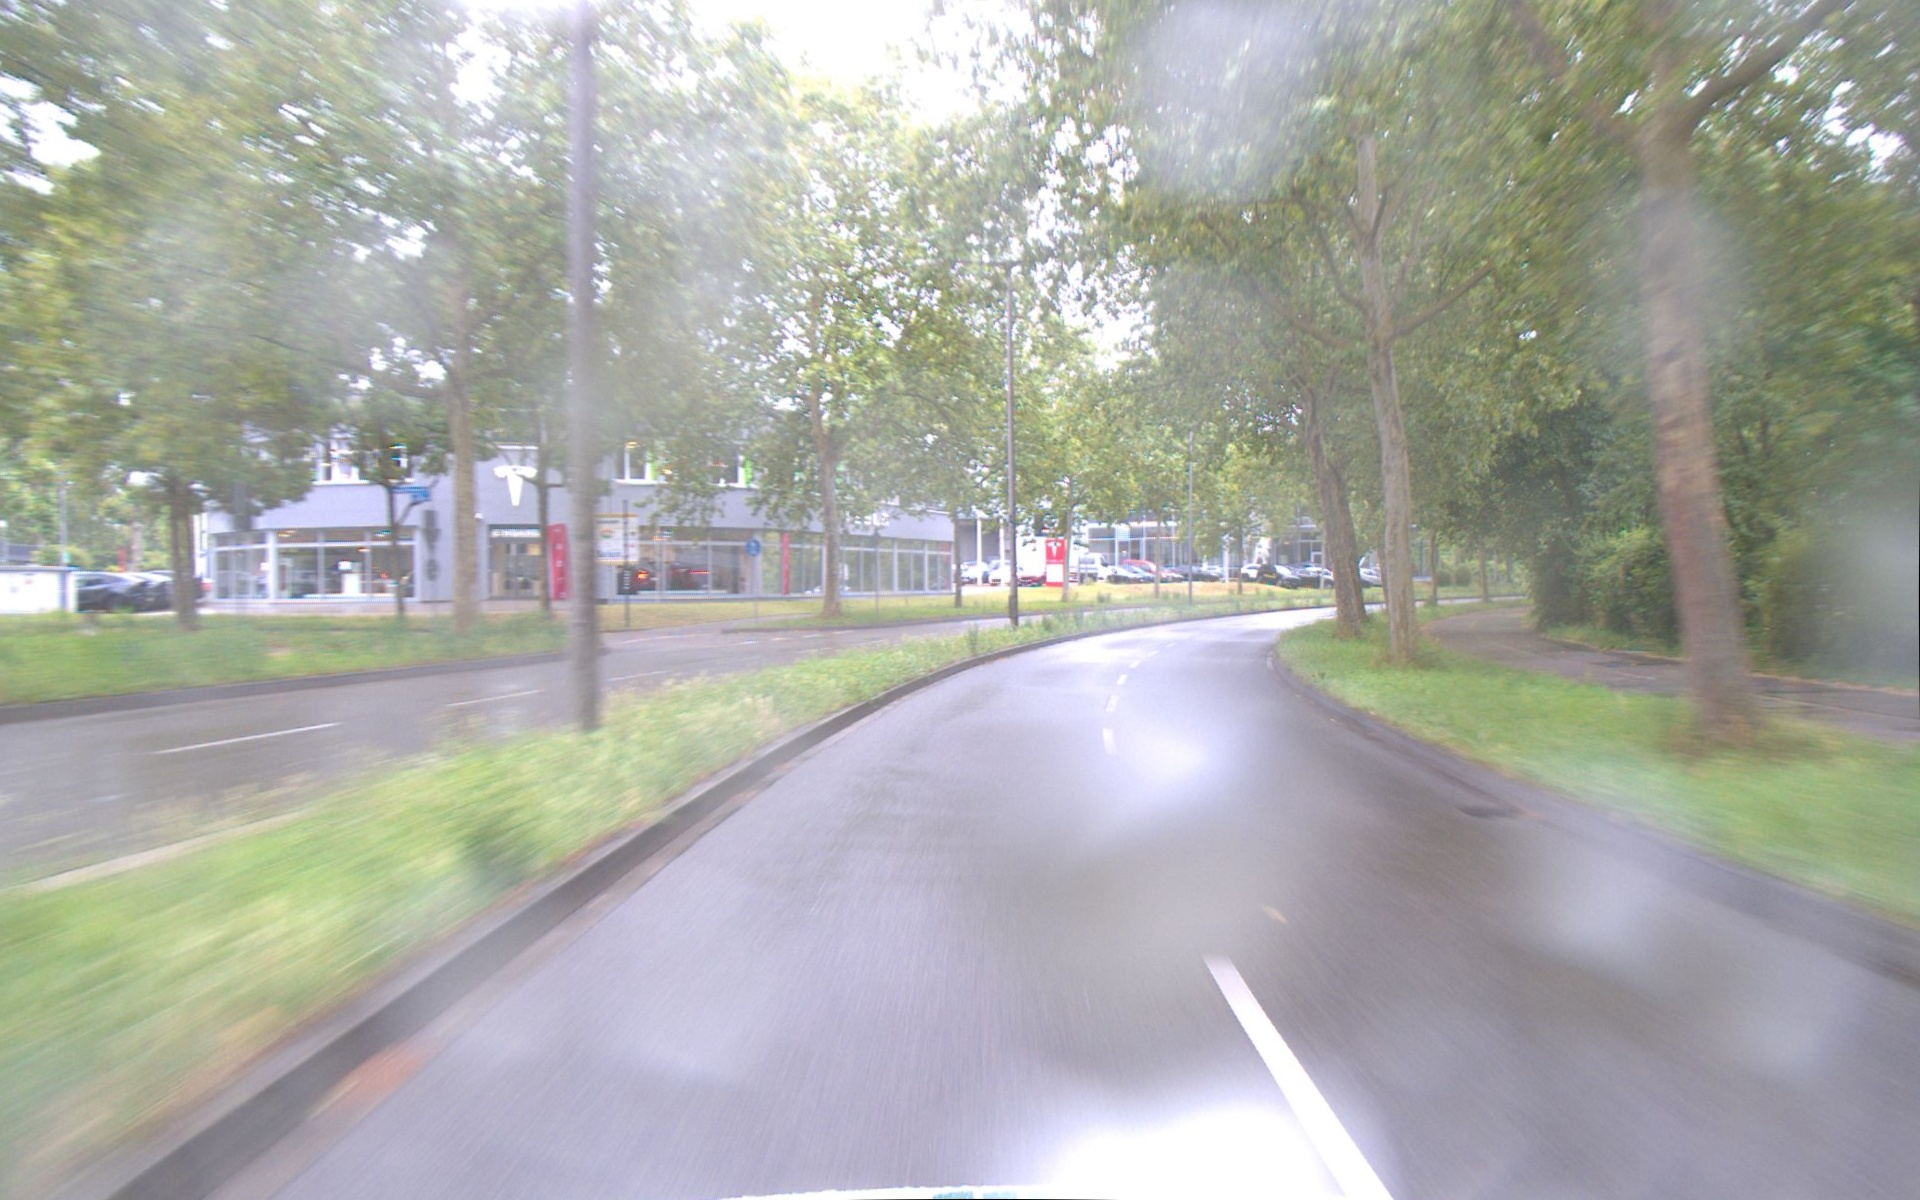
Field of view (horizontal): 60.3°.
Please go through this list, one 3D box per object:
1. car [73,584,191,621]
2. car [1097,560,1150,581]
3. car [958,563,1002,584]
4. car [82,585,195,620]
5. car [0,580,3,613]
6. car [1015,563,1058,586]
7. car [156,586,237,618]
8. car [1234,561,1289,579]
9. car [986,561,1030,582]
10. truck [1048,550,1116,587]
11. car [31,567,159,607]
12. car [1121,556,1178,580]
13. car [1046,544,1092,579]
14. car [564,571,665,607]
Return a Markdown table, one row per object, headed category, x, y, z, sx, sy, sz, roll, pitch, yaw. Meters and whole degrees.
| category | x | y | z | sx | sy | sz | roll | pitch | yaw |
| --- | --- | --- | --- | --- | --- | --- | --- | --- | --- |
| car | -34.901 | 0.109 | 69.777 | 4.109 | 1.520 | 1.597 | 0 | 1 | -4 |
| car | 12.135 | -2.194 | 122.780 | 3.460 | 1.349 | 1.764 | 4 | 4 | 32 |
| car | 1.528 | -1.993 | 123.566 | 1.728 | 1.421 | 4.155 | 2 | 3 | 25 |
| car | -36.097 | 0.104 | 72.730 | 4.109 | 1.520 | 1.597 | 0 | 1 | -4 |
| car | -46.690 | -0.154 | 76.672 | 3.686 | 1.520 | 1.597 | 0 | 1 | -4 |
| car | 5.598 | -1.884 | 120.552 | 1.728 | 1.492 | 4.155 | 2 | 3 | 25 |
| car | -37.461 | 0.093 | 81.208 | 3.240 | 1.520 | 1.597 | 0 | 1 | -4 |
| car | 26.319 | -2.614 | 144.185 | 4.339 | 1.499 | 1.917 | 1 | 2 | 30 |
| car | 3.600 | -2.118 | 122.531 | 1.728 | 1.421 | 4.155 | 2 | 3 | 25 |
| truck | 8.817 | -2.324 | 119.421 | 2.207 | 2.384 | 6.179 | 4 | 4 | 32 |
| car | -33.523 | -0.510 | 64.164 | 4.109 | 1.520 | 1.597 | 0 | 1 | -4 |
| car | 14.552 | -2.454 | 127.169 | 3.925 | 1.583 | 1.843 | 4 | 4 | 32 |
| car | 9.037 | -3.234 | 137.896 | 2.129 | 2.800 | 5.316 | 1 | 2 | -16 |
| car | -14.759 | -0.484 | 70.586 | 4.108 | 1.520 | 1.597 | 0 | 1 | 25 |
